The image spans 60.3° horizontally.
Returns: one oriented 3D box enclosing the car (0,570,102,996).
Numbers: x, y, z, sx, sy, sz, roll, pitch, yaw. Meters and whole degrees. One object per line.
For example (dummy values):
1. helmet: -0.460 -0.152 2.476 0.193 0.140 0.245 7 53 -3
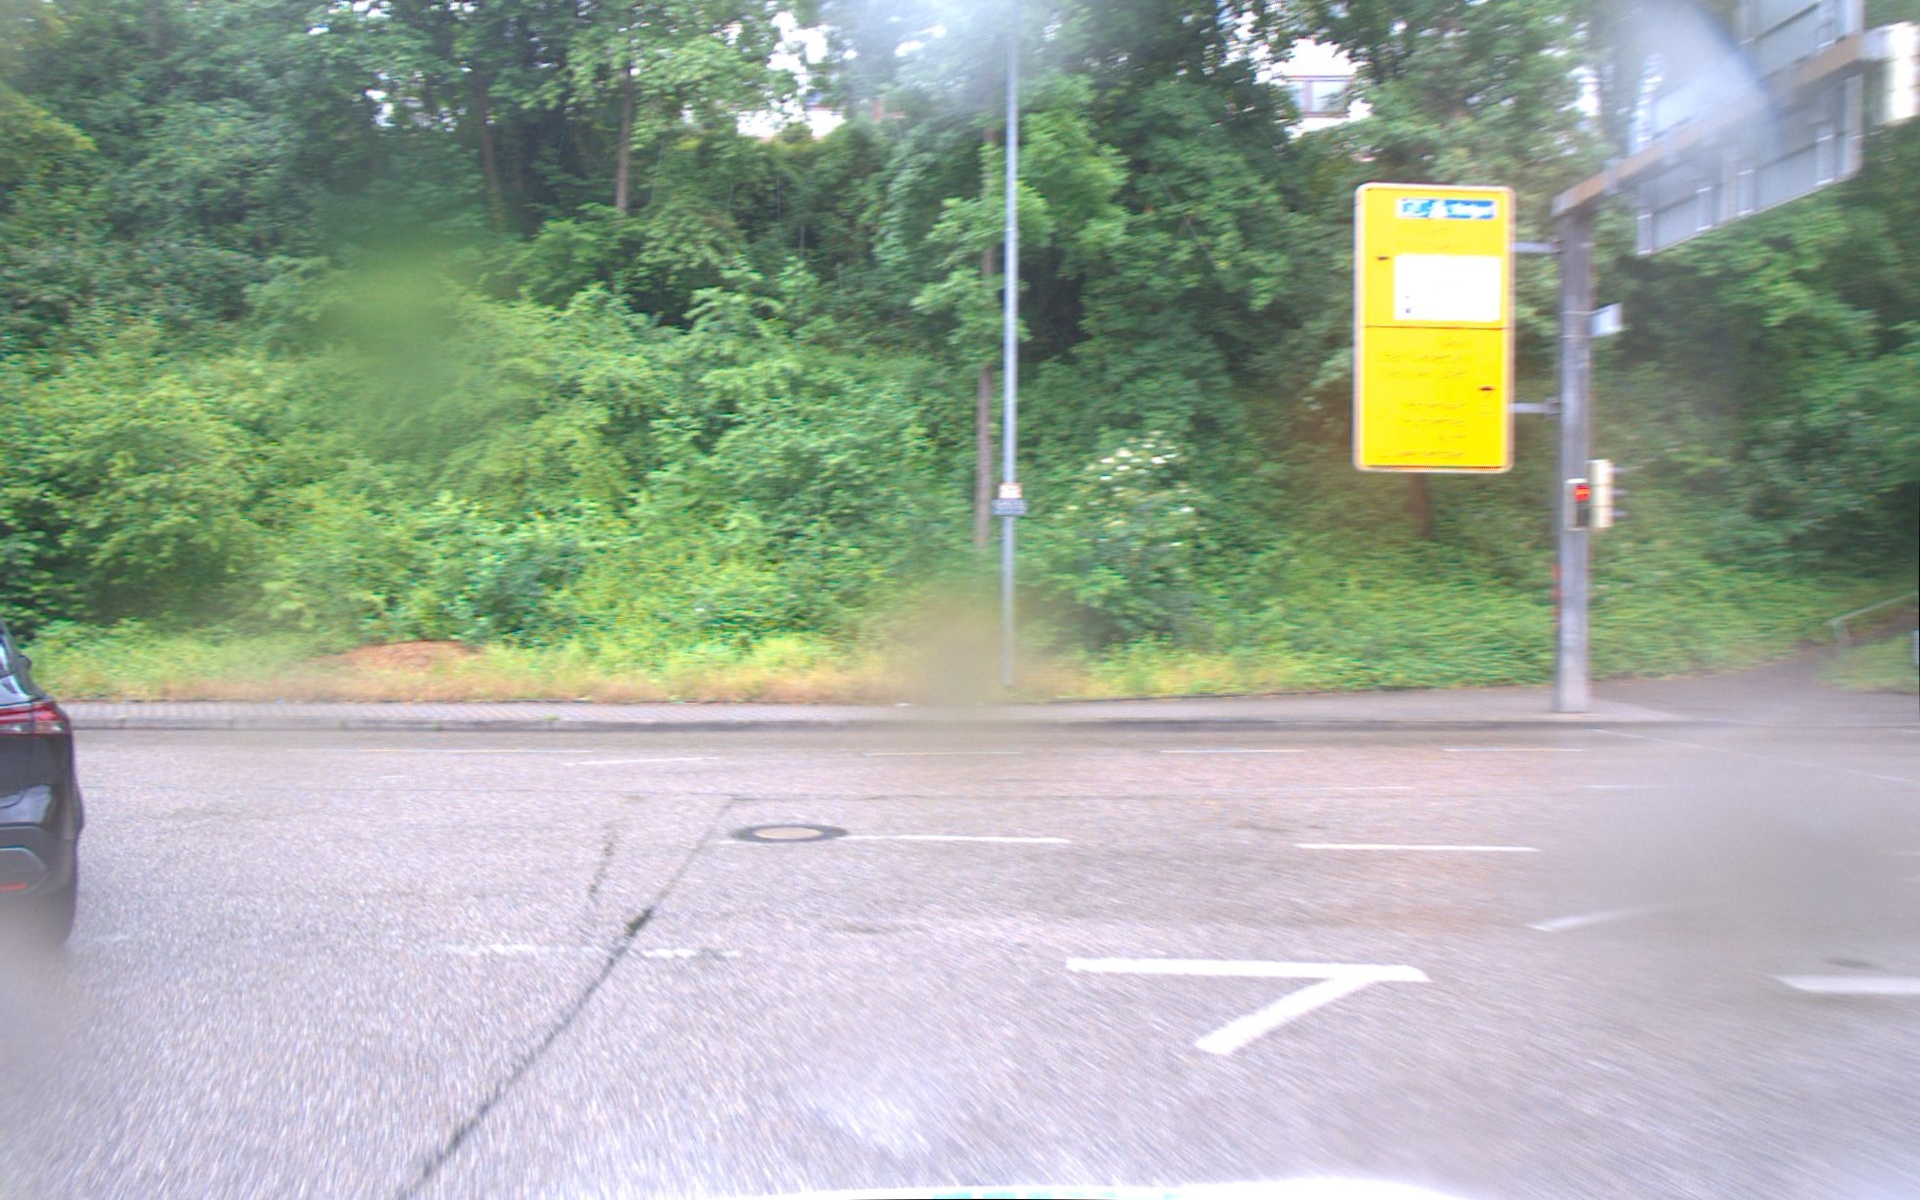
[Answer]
1. car: -5.291 0.685 7.590 1.797 1.631 3.948 0 0 -37
